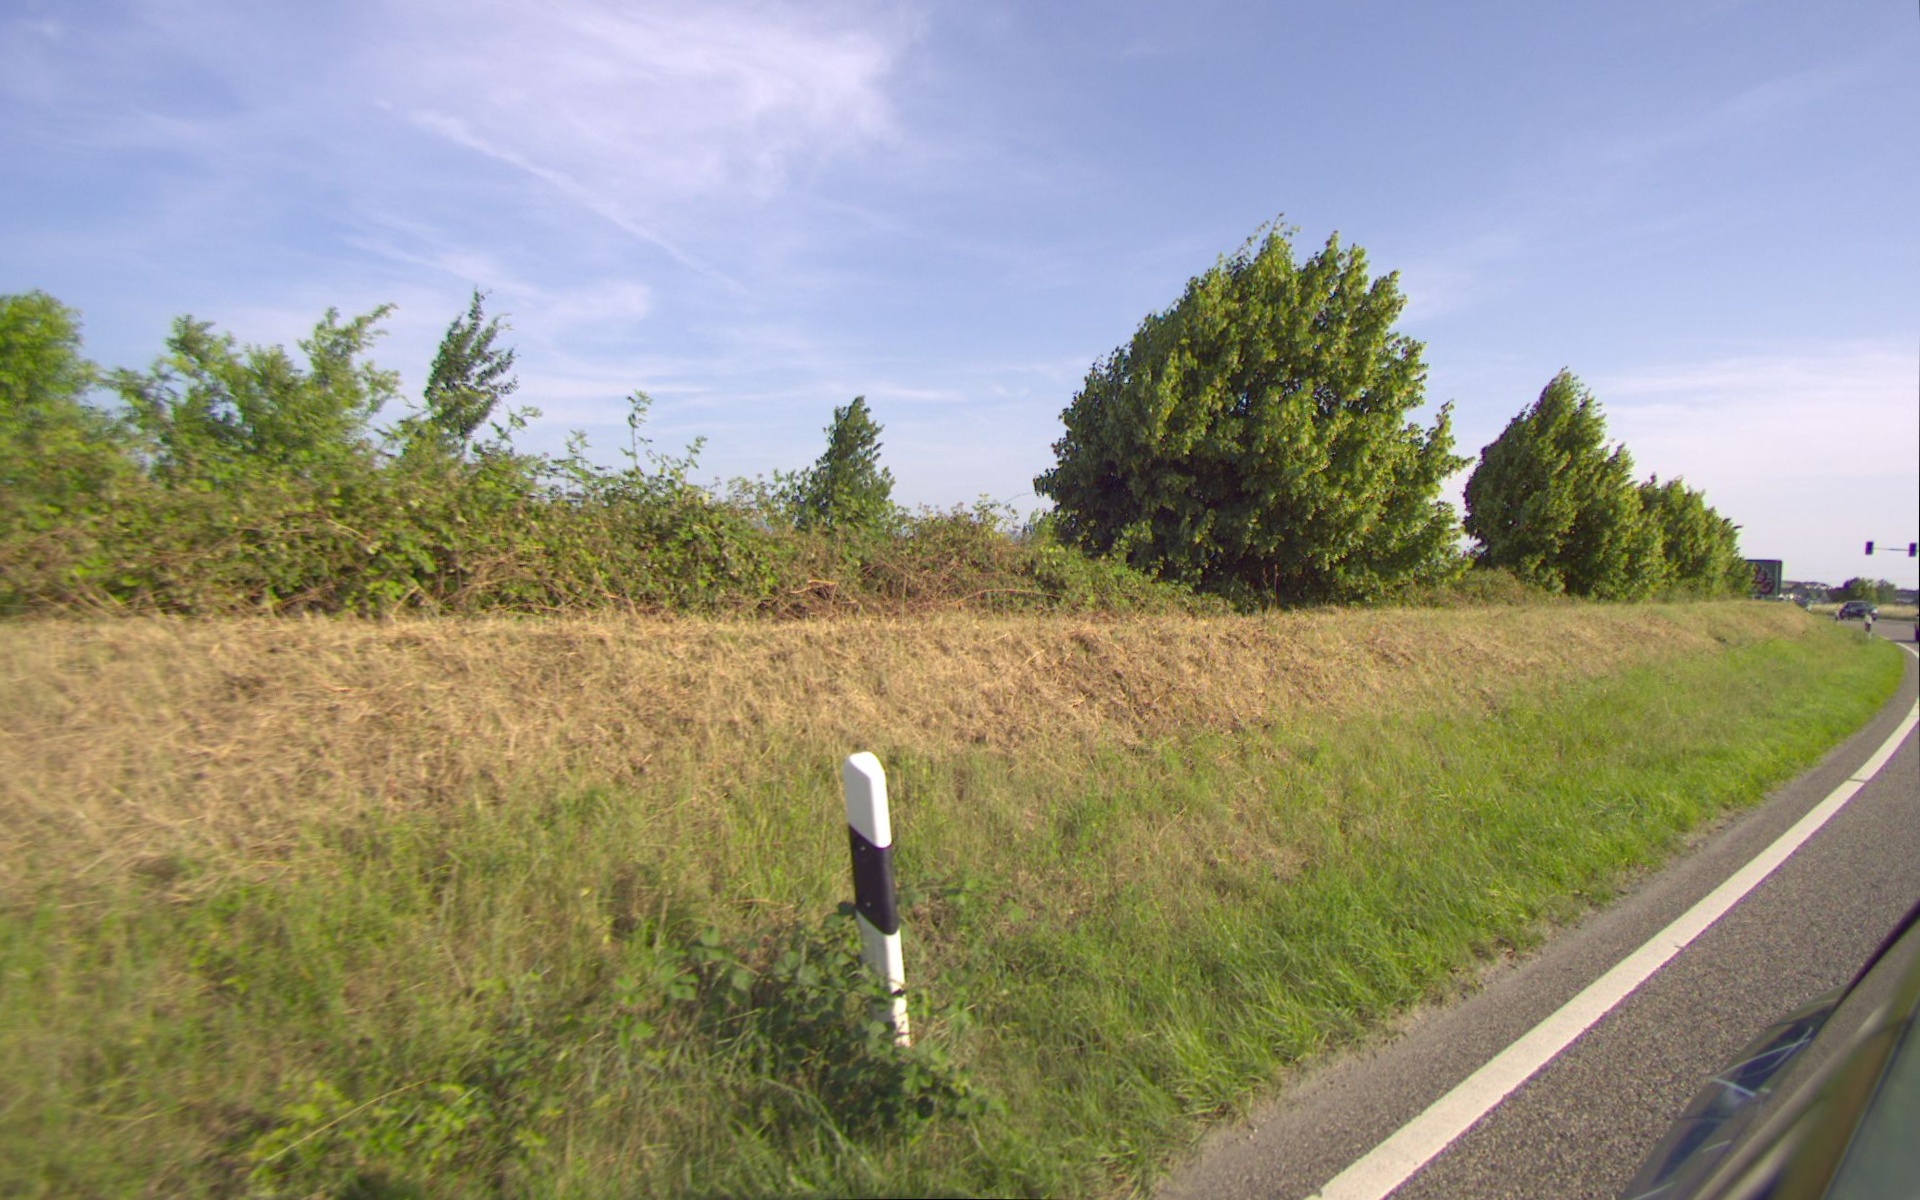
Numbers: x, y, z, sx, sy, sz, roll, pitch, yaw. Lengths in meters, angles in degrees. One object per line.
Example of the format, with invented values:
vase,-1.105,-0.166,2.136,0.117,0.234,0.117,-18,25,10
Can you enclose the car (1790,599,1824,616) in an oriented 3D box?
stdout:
car,82.007,0.738,97.996,1.817,1.549,3.958,1,1,30

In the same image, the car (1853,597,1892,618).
car,70.700,0.575,78.443,1.741,1.549,3.950,1,1,35

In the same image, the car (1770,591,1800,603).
car,113.323,-0.365,139.037,1.897,1.585,4.576,1,1,22
